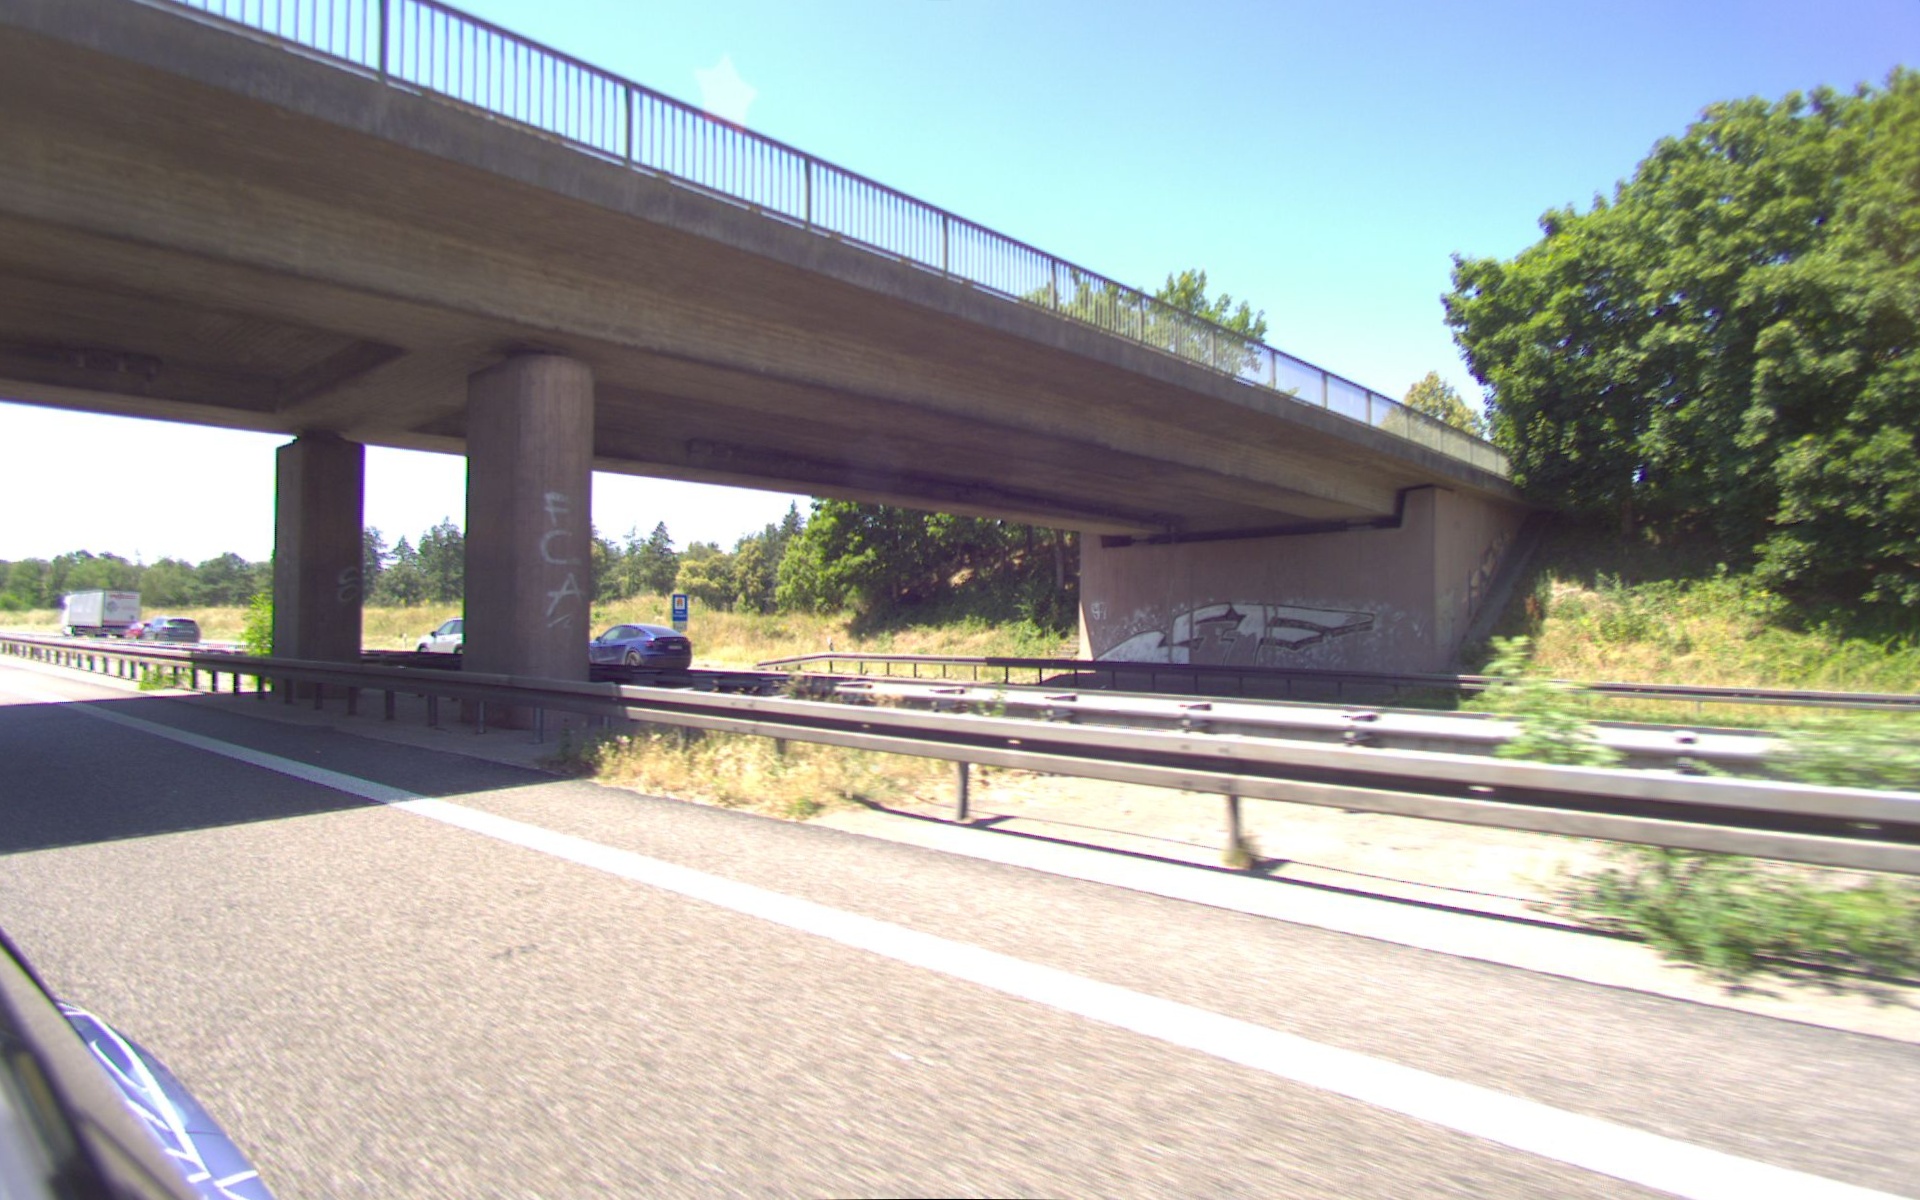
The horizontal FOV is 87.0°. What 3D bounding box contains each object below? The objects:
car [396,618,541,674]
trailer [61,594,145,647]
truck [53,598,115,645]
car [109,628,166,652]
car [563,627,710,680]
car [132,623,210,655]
[{"bbox_3d":[-15.586,1.451,31.992,5.055,1.623,2.205,-1,-4,40],"label":"car"},{"bbox_3d":[-73.279,1.839,86.331,14.090,4.139,2.919,-2,-5,40],"label":"trailer"},{"bbox_3d":[-78.551,2.004,90.734,6.946,3.990,2.919,-2,-5,40],"label":"truck"},{"bbox_3d":[-59.158,2.901,72.755,4.783,1.623,2.205,-1,-4,40],"label":"car"},{"bbox_3d":[-10.690,1.733,33.283,5.055,1.623,2.205,-1,-4,40],"label":"car"},{"bbox_3d":[-42.113,2.077,54.002,5.055,1.623,2.205,-1,-4,40],"label":"car"}]
